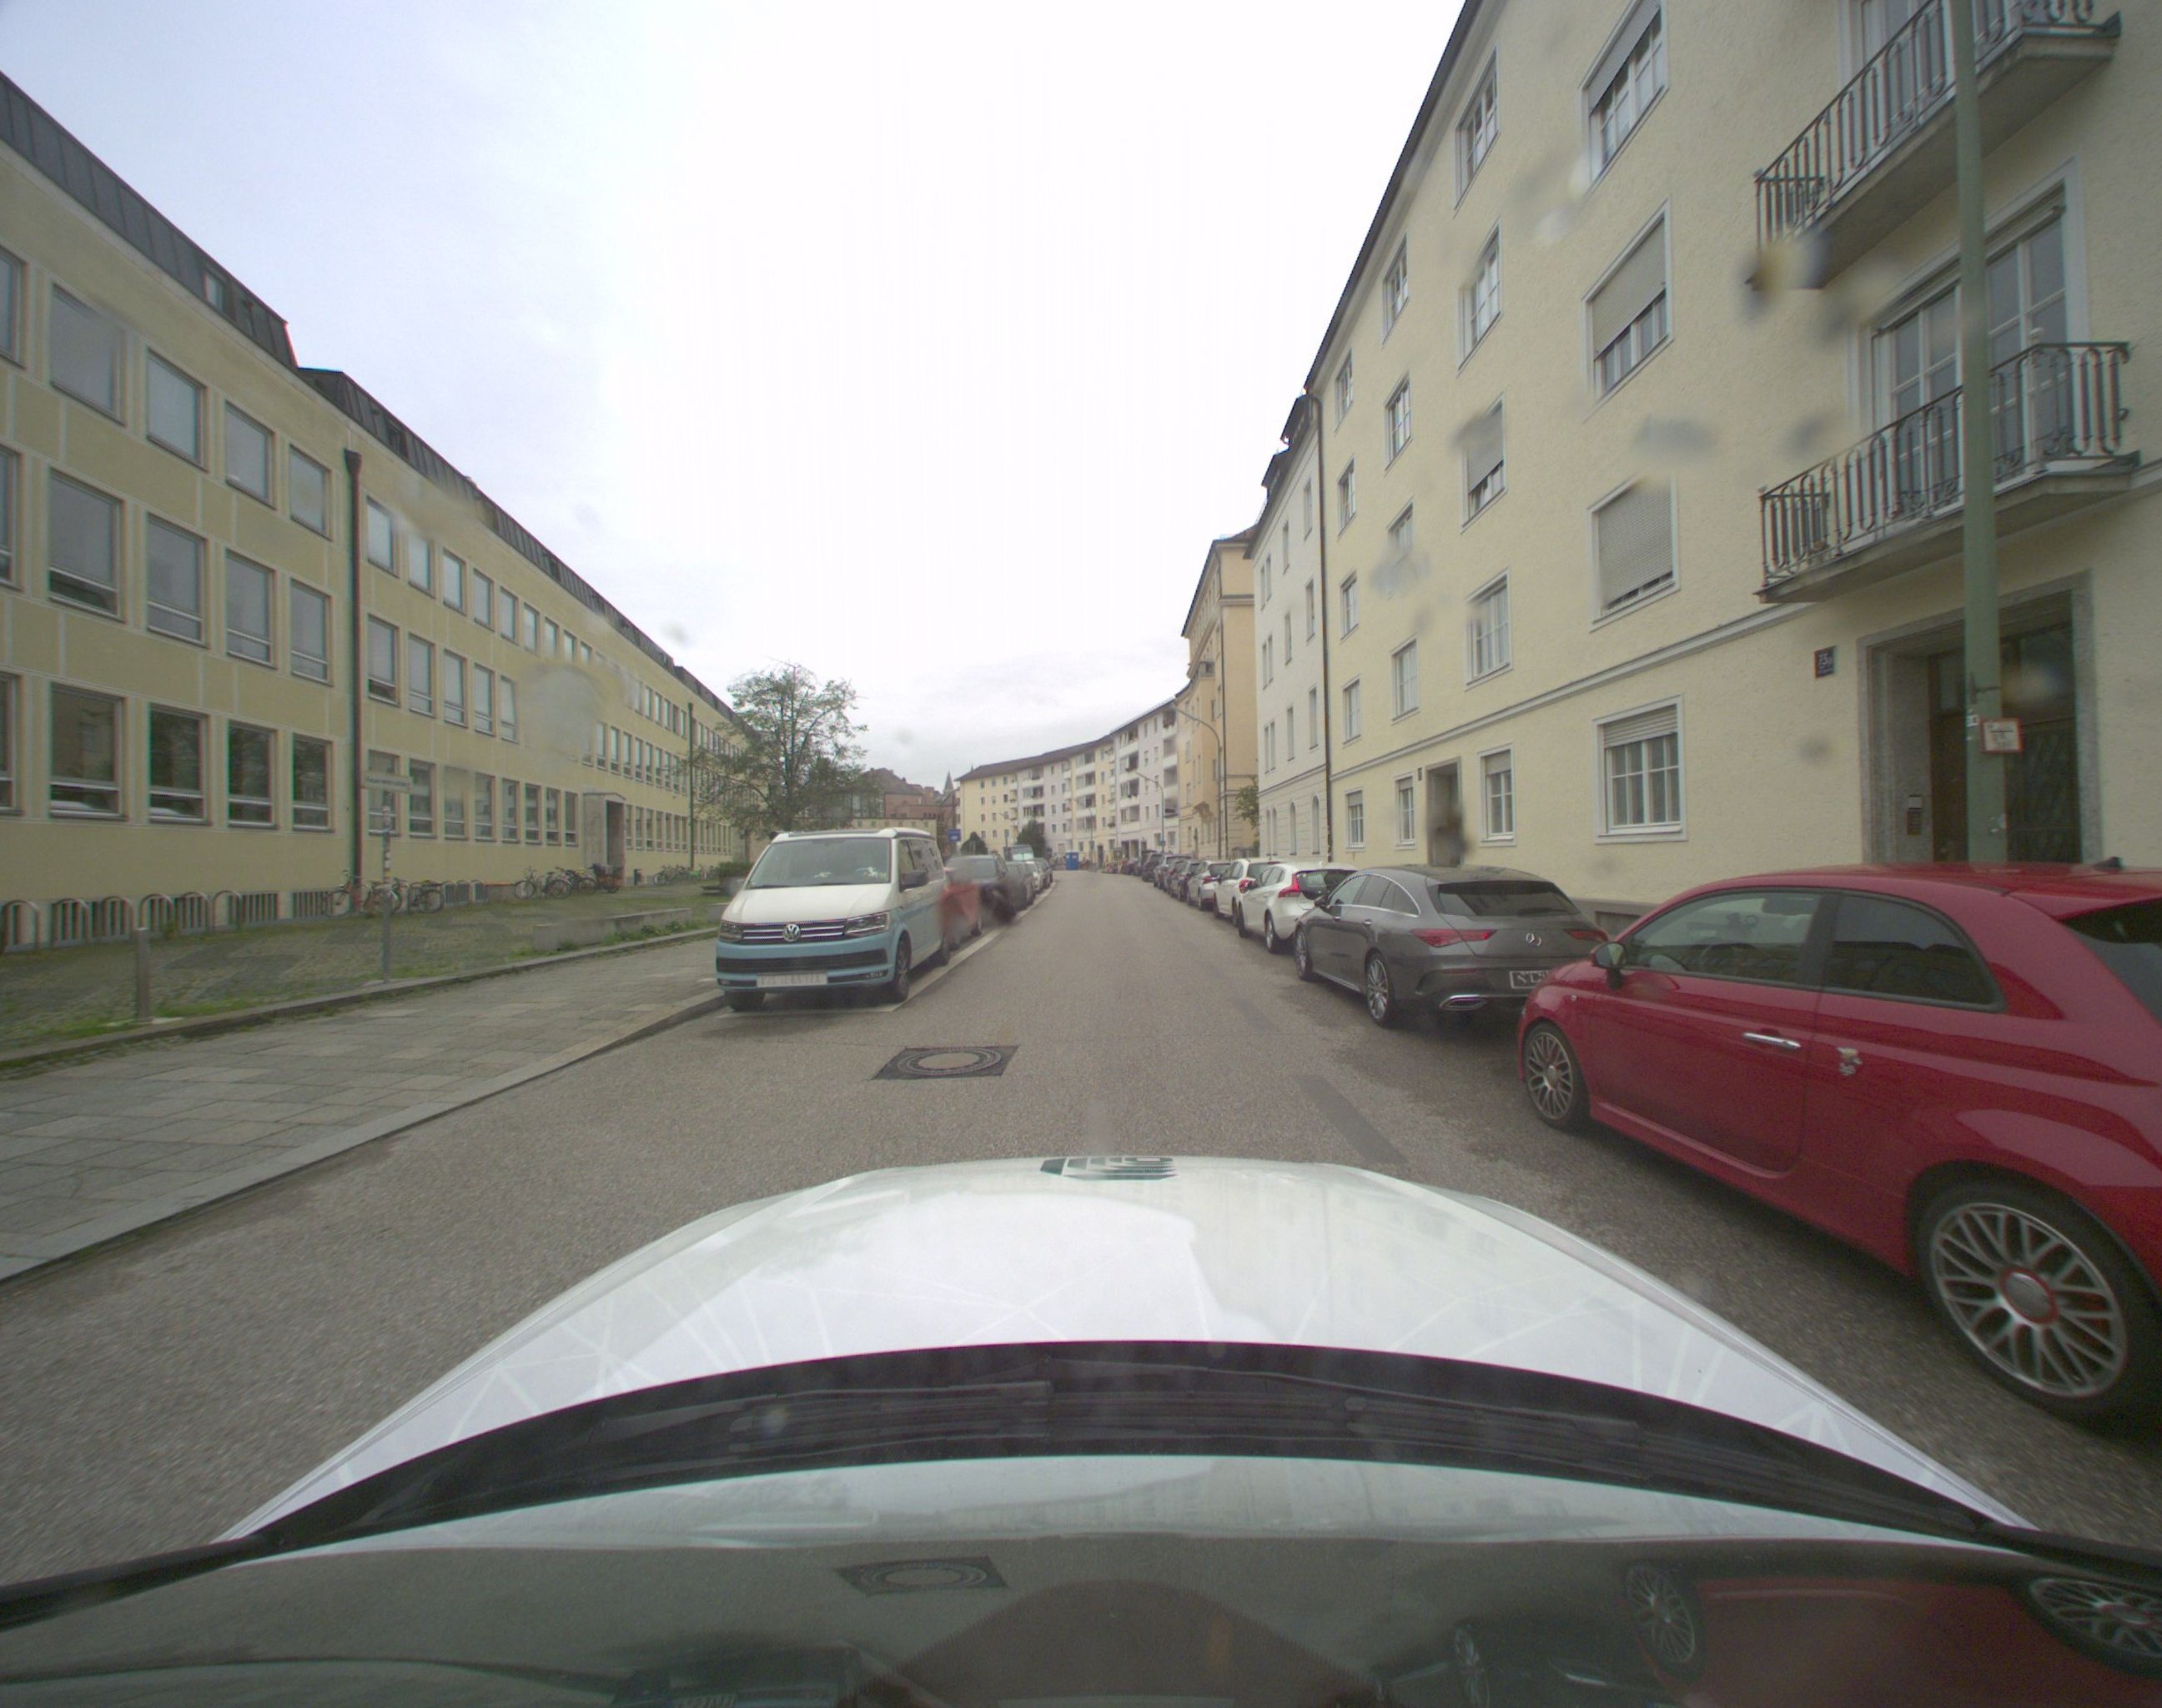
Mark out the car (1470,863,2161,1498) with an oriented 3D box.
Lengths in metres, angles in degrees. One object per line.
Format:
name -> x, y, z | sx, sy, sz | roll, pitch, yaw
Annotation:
car -> 3.418, 0.799, 3.603 | 1.649, 1.429, 3.756 | 0, 1, 1

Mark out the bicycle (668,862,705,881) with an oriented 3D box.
bicycle -> -23.107, 1.033, 47.689 | 1.849, 1.096, 0.699 | 1, 0, -16

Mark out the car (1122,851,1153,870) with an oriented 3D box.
car -> 4.523, 0.518, 65.963 | 1.904, 1.477, 4.941 | 0, 1, -3

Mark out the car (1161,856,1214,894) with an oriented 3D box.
car -> 4.419, 0.819, 34.348 | 1.821, 1.450, 4.085 | 0, 1, 1

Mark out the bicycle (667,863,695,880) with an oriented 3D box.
bicycle -> -22.694, 0.992, 46.246 | 1.413, 0.945, 0.411 | 1, 0, -23

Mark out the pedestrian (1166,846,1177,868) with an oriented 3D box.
pedestrian -> 7.123, 0.248, 64.202 | 0.615, 1.690, 0.919 | -4, 0, 1

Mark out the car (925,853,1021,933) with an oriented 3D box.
car -> -2.599, 0.885, 20.534 | 1.708, 1.689, 4.142 | -2, 0, 1

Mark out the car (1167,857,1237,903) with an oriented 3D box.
car -> 4.242, 0.856, 29.191 | 1.869, 1.450, 4.679 | 0, 1, 1

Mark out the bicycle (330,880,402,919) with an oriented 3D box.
bicycle -> -17.887, 1.138, 20.380 | 1.403, 0.945, 0.414 | 1, 0, -2

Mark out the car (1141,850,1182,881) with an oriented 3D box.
car -> 4.818, 0.664, 49.474 | 2.162, 1.739, 5.026 | 0, 1, 2

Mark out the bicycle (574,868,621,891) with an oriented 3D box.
bicycle -> -20.182, 1.062, 34.024 | 1.610, 0.945, 0.499 | 1, 0, -23

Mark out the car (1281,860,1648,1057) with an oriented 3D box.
car -> 3.502, 0.817, 8.547 | 1.767, 1.429, 4.616 | 0, 1, 1

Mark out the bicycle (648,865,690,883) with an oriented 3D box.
bicycle -> -22.373, 1.066, 44.253 | 1.952, 0.945, 0.413 | 1, 0, -12

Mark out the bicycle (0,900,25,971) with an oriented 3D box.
bicycle -> -15.395, 1.117, 10.944 | 1.414, 0.945, 0.411 | 1, 0, -28

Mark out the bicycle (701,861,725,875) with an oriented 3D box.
bicycle -> -24.980, 0.923, 55.329 | 1.409, 0.945, 0.412 | 1, 0, -16

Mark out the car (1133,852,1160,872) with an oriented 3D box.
car -> 4.757, 0.571, 59.690 | 1.626, 1.417, 3.677 | 0, 1, -2

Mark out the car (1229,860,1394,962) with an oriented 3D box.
car -> 3.788, 0.859, 14.153 | 1.719, 1.429, 4.294 | 0, 1, 1

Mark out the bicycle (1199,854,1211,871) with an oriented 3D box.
bicycle -> 8.183, 0.560, 53.913 | 0.500, 1.049, 2.139 | -4, 0, 3

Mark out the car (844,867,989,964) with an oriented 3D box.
car -> -2.918, 1.044, 15.268 | 1.798, 1.406, 3.710 | -3, 0, 1

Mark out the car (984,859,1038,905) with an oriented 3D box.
car -> -2.565, 0.996, 30.738 | 1.626, 1.494, 4.099 | -3, 0, -1

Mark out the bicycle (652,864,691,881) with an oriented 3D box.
bicycle -> -22.558, 1.020, 44.922 | 1.862, 0.945, 0.412 | 1, 0, -18

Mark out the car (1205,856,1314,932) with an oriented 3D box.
car -> 4.049, 0.849, 19.091 | 1.646, 1.543, 3.992 | 0, 1, -1

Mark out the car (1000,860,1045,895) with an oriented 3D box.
car -> -2.564, 1.014, 36.648 | 1.736, 1.422, 4.292 | -1, 0, -1

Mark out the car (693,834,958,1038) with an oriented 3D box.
car -> -2.856, 0.765, 10.399 | 1.910, 1.960, 4.958 | 0, 1, -2

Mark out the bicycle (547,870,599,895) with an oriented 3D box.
bicycle -> -19.760, 1.094, 31.688 | 1.608, 0.945, 0.500 | 1, 0, -18

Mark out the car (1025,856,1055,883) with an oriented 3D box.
car -> -2.621, 0.941, 51.781 | 1.770, 1.465, 4.461 | -3, 1, -3

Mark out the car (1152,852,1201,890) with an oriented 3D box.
car -> 4.529, 0.760, 39.210 | 1.840, 1.663, 4.498 | 0, 1, 0

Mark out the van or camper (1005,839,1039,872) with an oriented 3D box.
van or camper -> -4.872, 0.103, 66.913 | 2.296, 2.581, 6.067 | 0, 0, -9

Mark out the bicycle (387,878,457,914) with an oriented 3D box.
bicycle -> -17.675, 1.127, 21.868 | 1.407, 0.945, 0.413 | 1, 0, -12

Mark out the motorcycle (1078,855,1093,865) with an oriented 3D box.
motorcycle -> 0.521, 0.700, 98.403 | 0.936, 1.221, 2.488 | 0, 0, -23

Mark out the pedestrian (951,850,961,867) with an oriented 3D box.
pedestrian -> -13.317, 0.487, 86.504 | 0.847, 1.866, 0.708 | 0, 0, -27

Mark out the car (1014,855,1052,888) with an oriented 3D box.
car -> -2.428, 0.857, 41.981 | 1.626, 1.494, 4.274 | -3, 0, -1

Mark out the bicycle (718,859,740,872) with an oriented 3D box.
bicycle -> -26.275, 0.849, 60.800 | 1.473, 0.945, 0.412 | 1, 0, -16

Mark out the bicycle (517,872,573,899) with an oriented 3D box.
bicycle -> -19.365, 1.122, 29.460 | 1.608, 0.945, 0.500 | 1, 0, -18

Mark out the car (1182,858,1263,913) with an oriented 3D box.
car -> 4.115, 0.877, 24.288 | 1.719, 1.450, 4.187 | 0, 0, 0

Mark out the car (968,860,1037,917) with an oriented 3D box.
car -> -2.398, 1.024, 25.647 | 1.625, 1.494, 3.821 | -3, 0, 1
